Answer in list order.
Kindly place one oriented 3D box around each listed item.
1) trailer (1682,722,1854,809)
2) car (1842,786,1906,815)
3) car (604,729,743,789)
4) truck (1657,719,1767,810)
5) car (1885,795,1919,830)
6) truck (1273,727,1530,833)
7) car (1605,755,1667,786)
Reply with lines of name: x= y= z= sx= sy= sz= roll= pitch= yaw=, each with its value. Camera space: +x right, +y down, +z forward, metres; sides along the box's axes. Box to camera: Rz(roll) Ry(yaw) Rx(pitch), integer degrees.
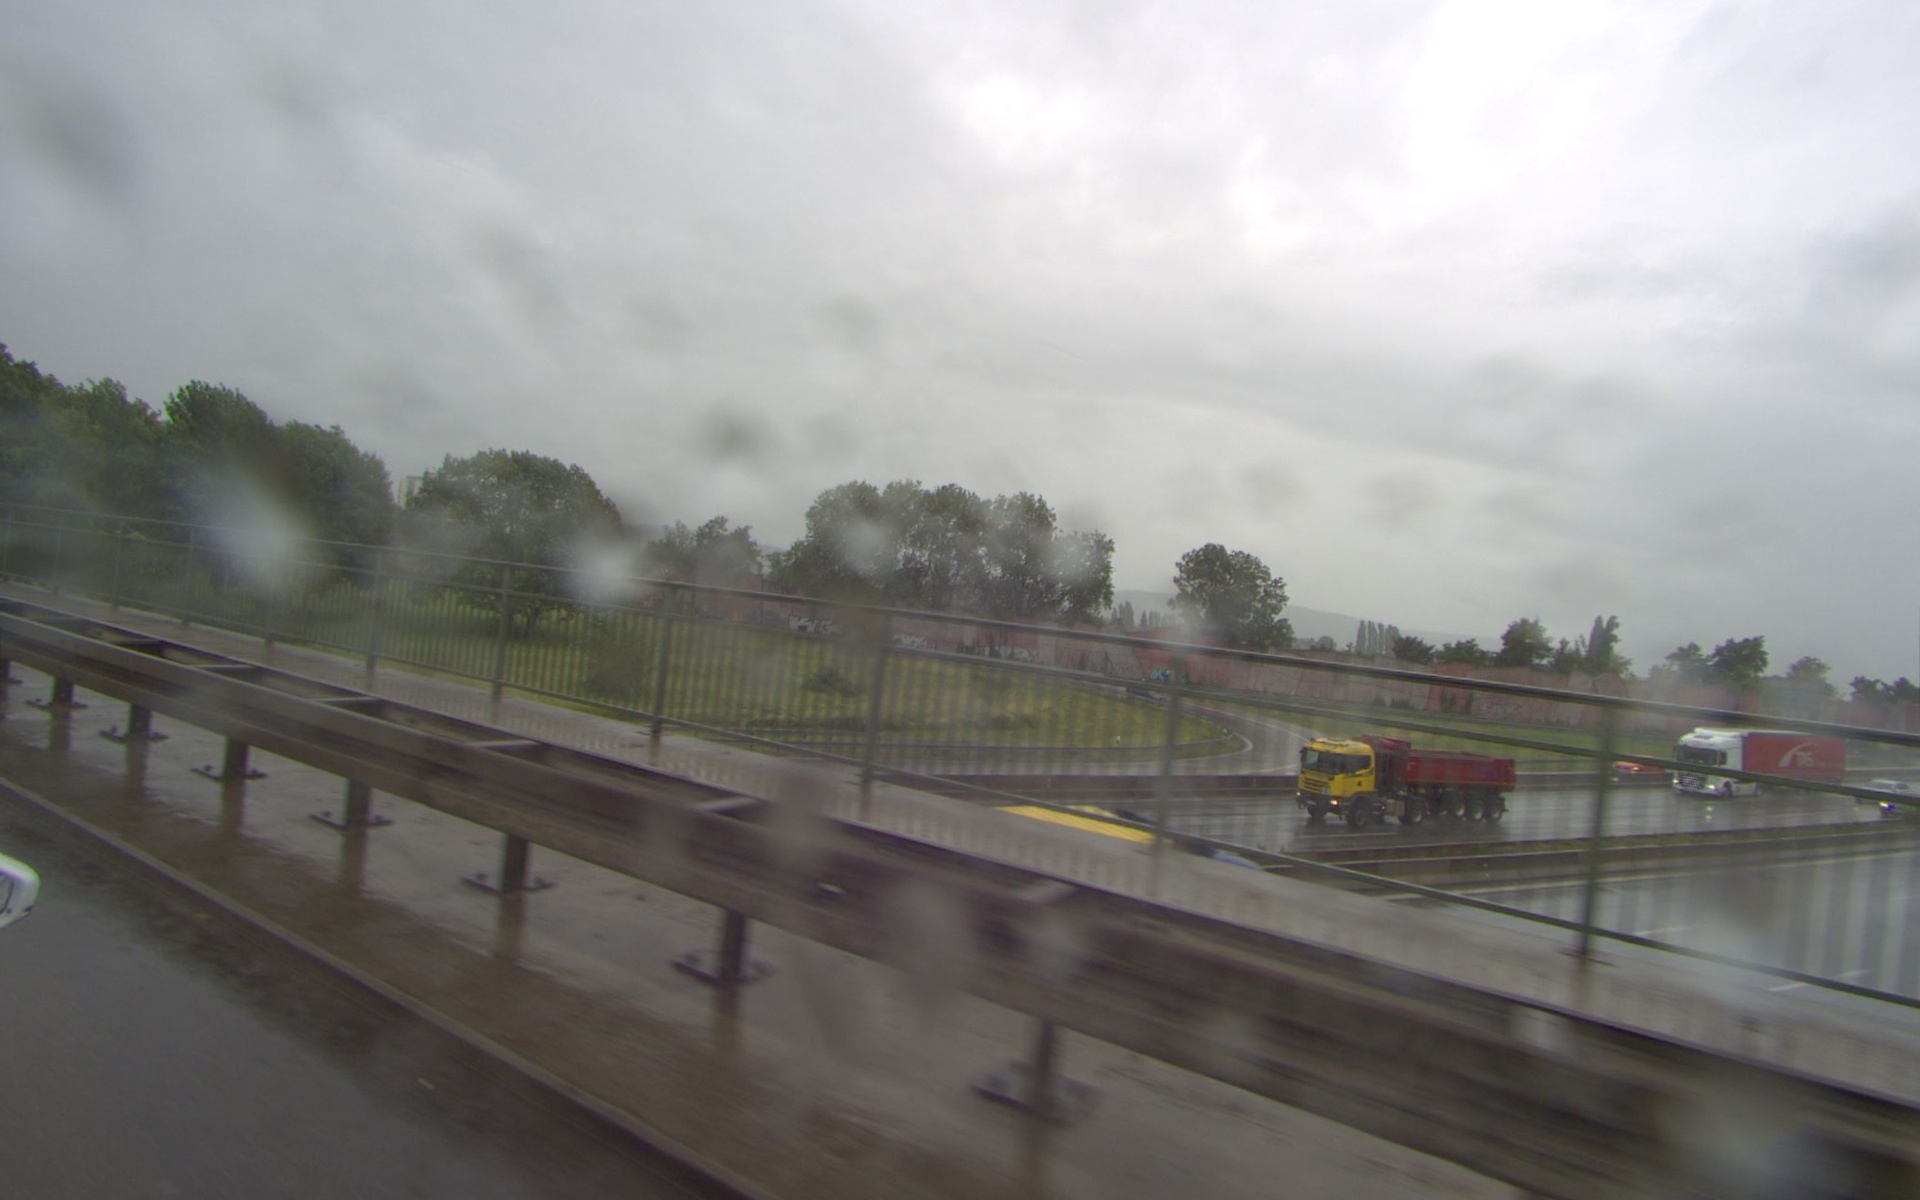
trailer: x=53.443 y=10.897 z=66.374 sx=13.664 sy=5.008 sz=3.126 roll=5 pitch=-2 yaw=-26
car: x=59.601 y=13.064 z=65.621 sx=3.949 sy=1.516 sz=1.797 roll=5 pitch=-3 yaw=-27
car: x=-11.232 y=6.255 z=39.508 sx=4.780 sy=1.713 sz=1.988 roll=10 pitch=-5 yaw=-28
truck: x=47.421 y=10.315 z=63.434 sx=5.729 sy=5.176 sz=3.126 roll=5 pitch=-2 yaw=-25
car: x=55.679 y=12.297 z=58.294 sx=3.948 sy=1.604 sz=1.797 roll=4 pitch=-2 yaw=-27
truck: x=19.868 y=8.083 z=44.860 sx=12.226 sy=3.793 sz=3.126 roll=7 pitch=-3 yaw=-26
car: x=46.945 y=11.850 z=69.865 sx=3.956 sy=1.601 sz=1.797 roll=10 pitch=-5 yaw=-27
